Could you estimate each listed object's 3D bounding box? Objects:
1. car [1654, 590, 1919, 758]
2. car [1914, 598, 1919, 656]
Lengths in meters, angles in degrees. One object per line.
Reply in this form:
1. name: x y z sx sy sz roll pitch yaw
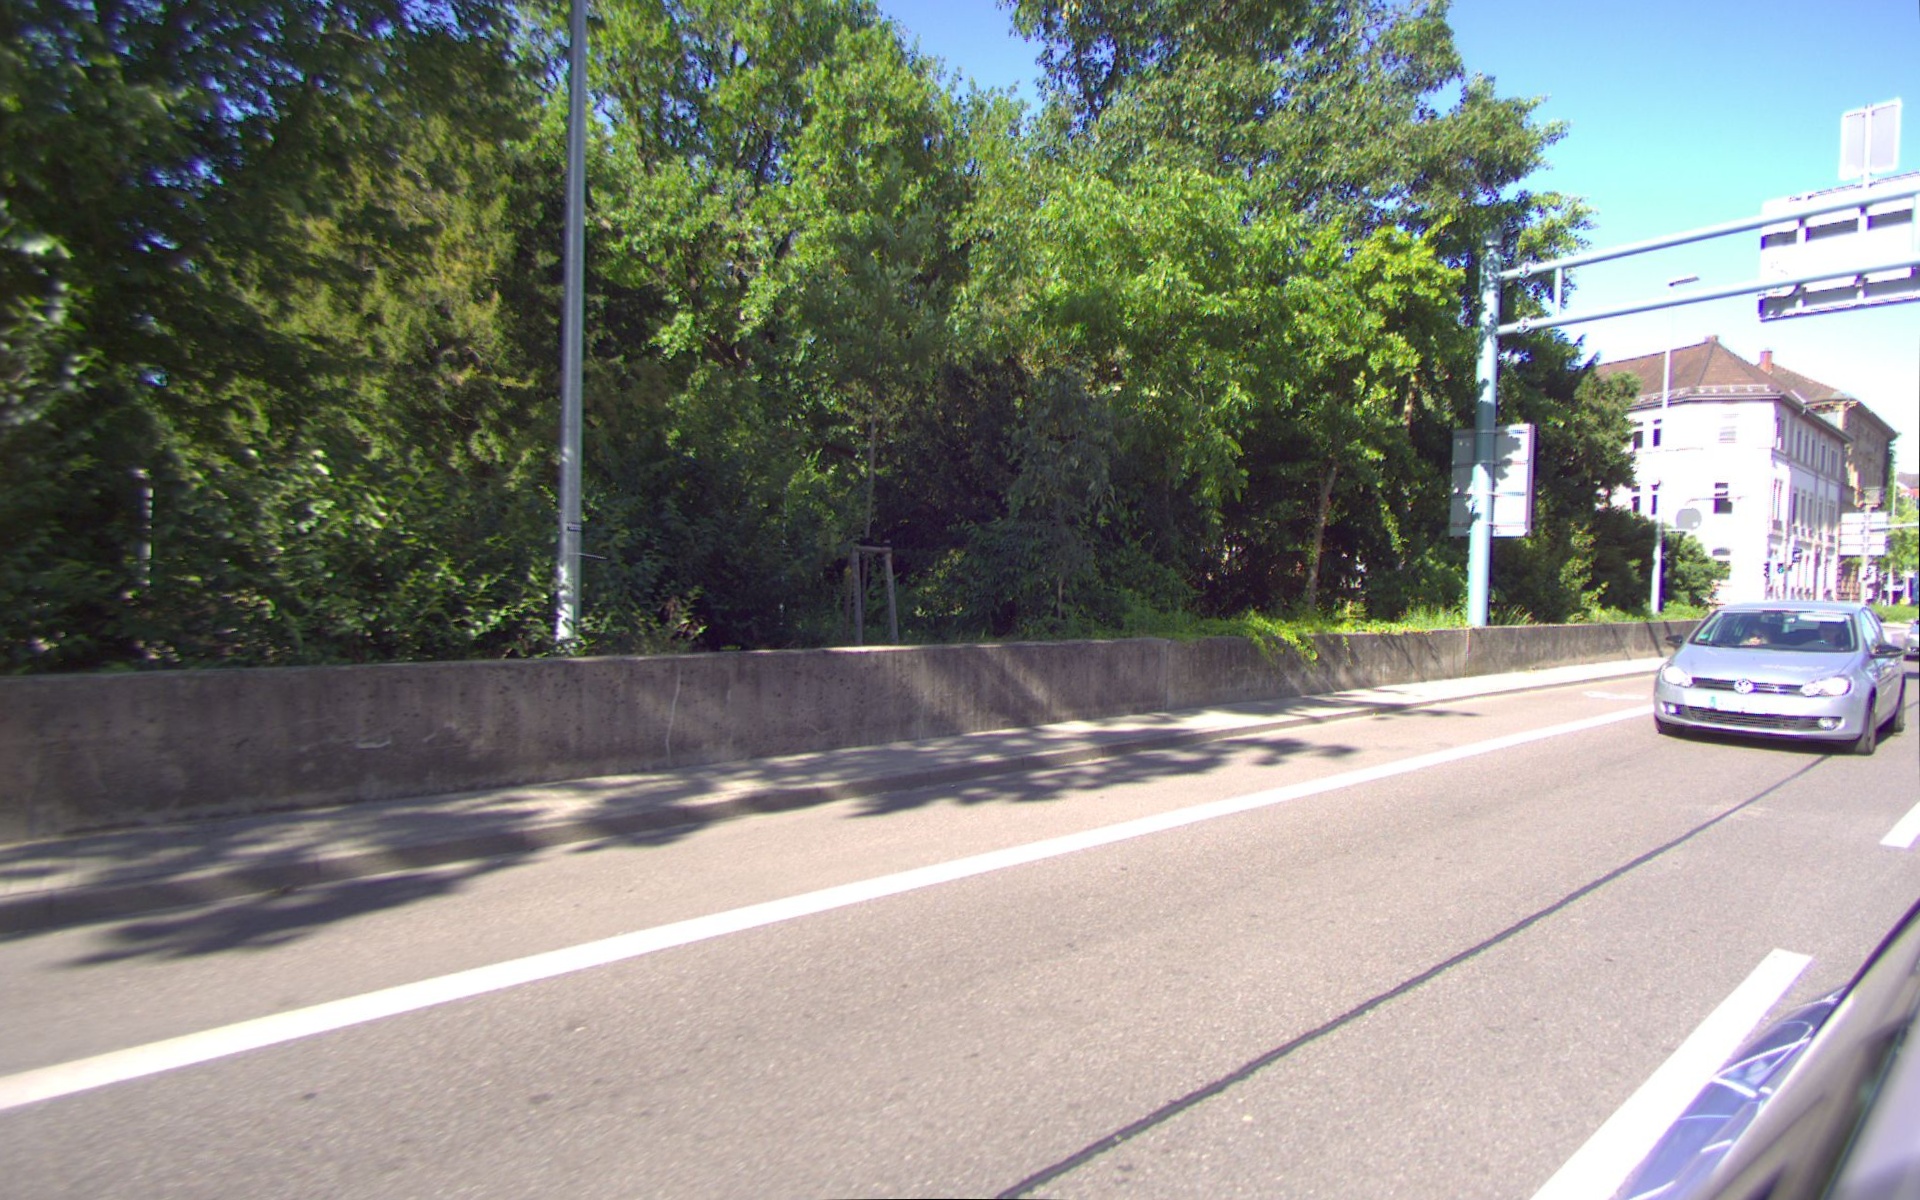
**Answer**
1. car: 9.152 0.648 11.041 3.931 1.493 1.701 0 1 -41
2. car: 26.022 0.693 26.006 3.931 1.441 1.837 0 1 -41
